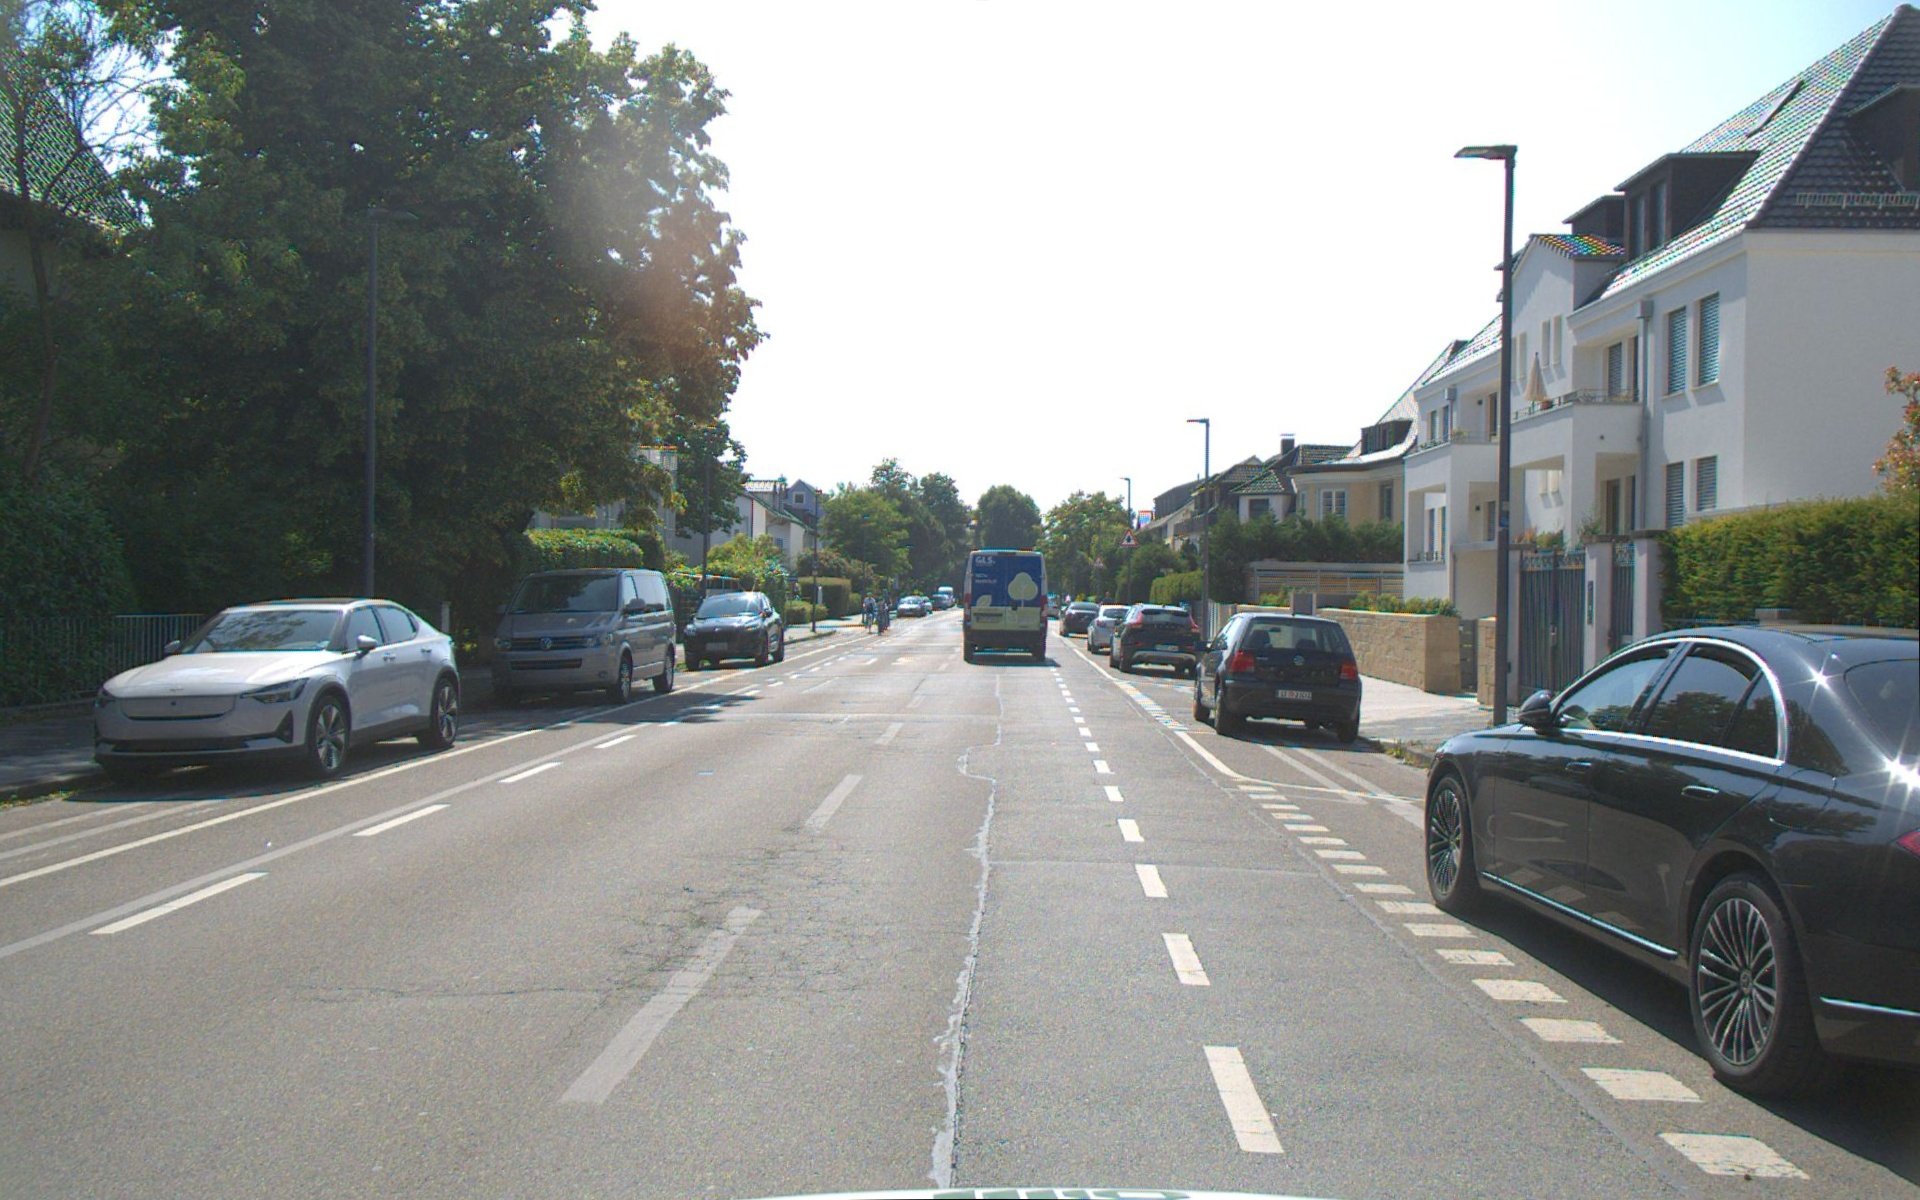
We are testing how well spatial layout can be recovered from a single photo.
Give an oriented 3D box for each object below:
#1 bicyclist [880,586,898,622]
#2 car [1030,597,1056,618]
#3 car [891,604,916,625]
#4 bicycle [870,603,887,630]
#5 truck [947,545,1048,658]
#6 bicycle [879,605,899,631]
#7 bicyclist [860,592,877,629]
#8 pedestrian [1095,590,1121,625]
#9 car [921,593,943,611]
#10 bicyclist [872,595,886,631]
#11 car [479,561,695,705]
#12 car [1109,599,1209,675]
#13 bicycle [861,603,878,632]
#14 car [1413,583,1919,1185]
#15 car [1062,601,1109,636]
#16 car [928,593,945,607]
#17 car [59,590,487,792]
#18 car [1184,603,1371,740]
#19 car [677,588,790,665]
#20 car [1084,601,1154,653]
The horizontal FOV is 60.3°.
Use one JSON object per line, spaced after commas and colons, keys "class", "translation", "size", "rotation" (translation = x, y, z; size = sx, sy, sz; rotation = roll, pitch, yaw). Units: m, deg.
{"class": "bicyclist", "translation": [-3.332, 0.183, 77.963], "size": [0.733, 1.697, 1.022], "rotation": [-1, -1, 2]}
{"class": "car", "translation": [6.119, 0.534, 122.717], "size": [1.704, 1.426, 4.074], "rotation": [-2, 1, 0]}
{"class": "car", "translation": [-4.077, 1.039, 119.755], "size": [1.749, 1.465, 4.153], "rotation": [-1, 0, -2]}
{"class": "bicycle", "translation": [-3.367, 0.679, 68.611], "size": [0.588, 1.124, 1.346], "rotation": [-1, 0, 2]}
{"class": "truck", "translation": [0.869, 0.048, 40.902], "size": [2.226, 2.616, 4.390], "rotation": [1, 0, -2]}
{"class": "bicycle", "translation": [-3.342, 0.828, 77.877], "size": [0.766, 1.186, 2.420], "rotation": [-1, 0, 2]}
{"class": "bicyclist", "translation": [-4.077, 0.467, 73.824], "size": [0.662, 1.608, 0.859], "rotation": [-1, -1, 2]}
{"class": "pedestrian", "translation": [8.288, 0.425, 92.792], "size": [0.890, 1.905, 1.176], "rotation": [1, -1, -32]}
{"class": "car", "translation": [-2.396, 0.167, 143.214], "size": [1.748, 1.465, 4.000], "rotation": [1, 0, 1]}
{"class": "bicyclist", "translation": [-3.369, 0.541, 68.702], "size": [0.480, 1.479, 0.964], "rotation": [-1, -1, 2]}
{"class": "car", "translation": [-5.519, 0.461, 25.146], "size": [1.845, 1.953, 4.871], "rotation": [-1, 0, 4]}
{"class": "car", "translation": [4.349, 0.789, 36.652], "size": [1.687, 1.474, 4.169], "rotation": [4, 0, 1]}
{"class": "bicycle", "translation": [-4.014, 0.784, 73.671], "size": [0.547, 1.206, 2.036], "rotation": [2, 1, 2]}
{"class": "car", "translation": [3.395, 0.803, 6.596], "size": [1.662, 1.610, 4.900], "rotation": [3, 0, -1]}
{"class": "car", "translation": [5.106, 0.740, 67.775], "size": [1.701, 1.352, 4.260], "rotation": [1, 0, 1]}
{"class": "car", "translation": [-2.463, 0.019, 177.557], "size": [1.744, 1.485, 4.086], "rotation": [1, 0, 0]}
{"class": "car", "translation": [-6.000, 0.693, 15.139], "size": [1.795, 1.511, 4.564], "rotation": [-2, 0, 3]}
{"class": "car", "translation": [3.871, 0.824, 20.771], "size": [1.586, 1.474, 4.000], "rotation": [3, 0, 1]}
{"class": "car", "translation": [-5.173, 0.595, 38.319], "size": [1.812, 1.639, 4.449], "rotation": [-1, -1, 2]}
{"class": "car", "translation": [4.631, 0.805, 48.622], "size": [1.701, 1.352, 4.077], "rotation": [4, -1, 2]}
